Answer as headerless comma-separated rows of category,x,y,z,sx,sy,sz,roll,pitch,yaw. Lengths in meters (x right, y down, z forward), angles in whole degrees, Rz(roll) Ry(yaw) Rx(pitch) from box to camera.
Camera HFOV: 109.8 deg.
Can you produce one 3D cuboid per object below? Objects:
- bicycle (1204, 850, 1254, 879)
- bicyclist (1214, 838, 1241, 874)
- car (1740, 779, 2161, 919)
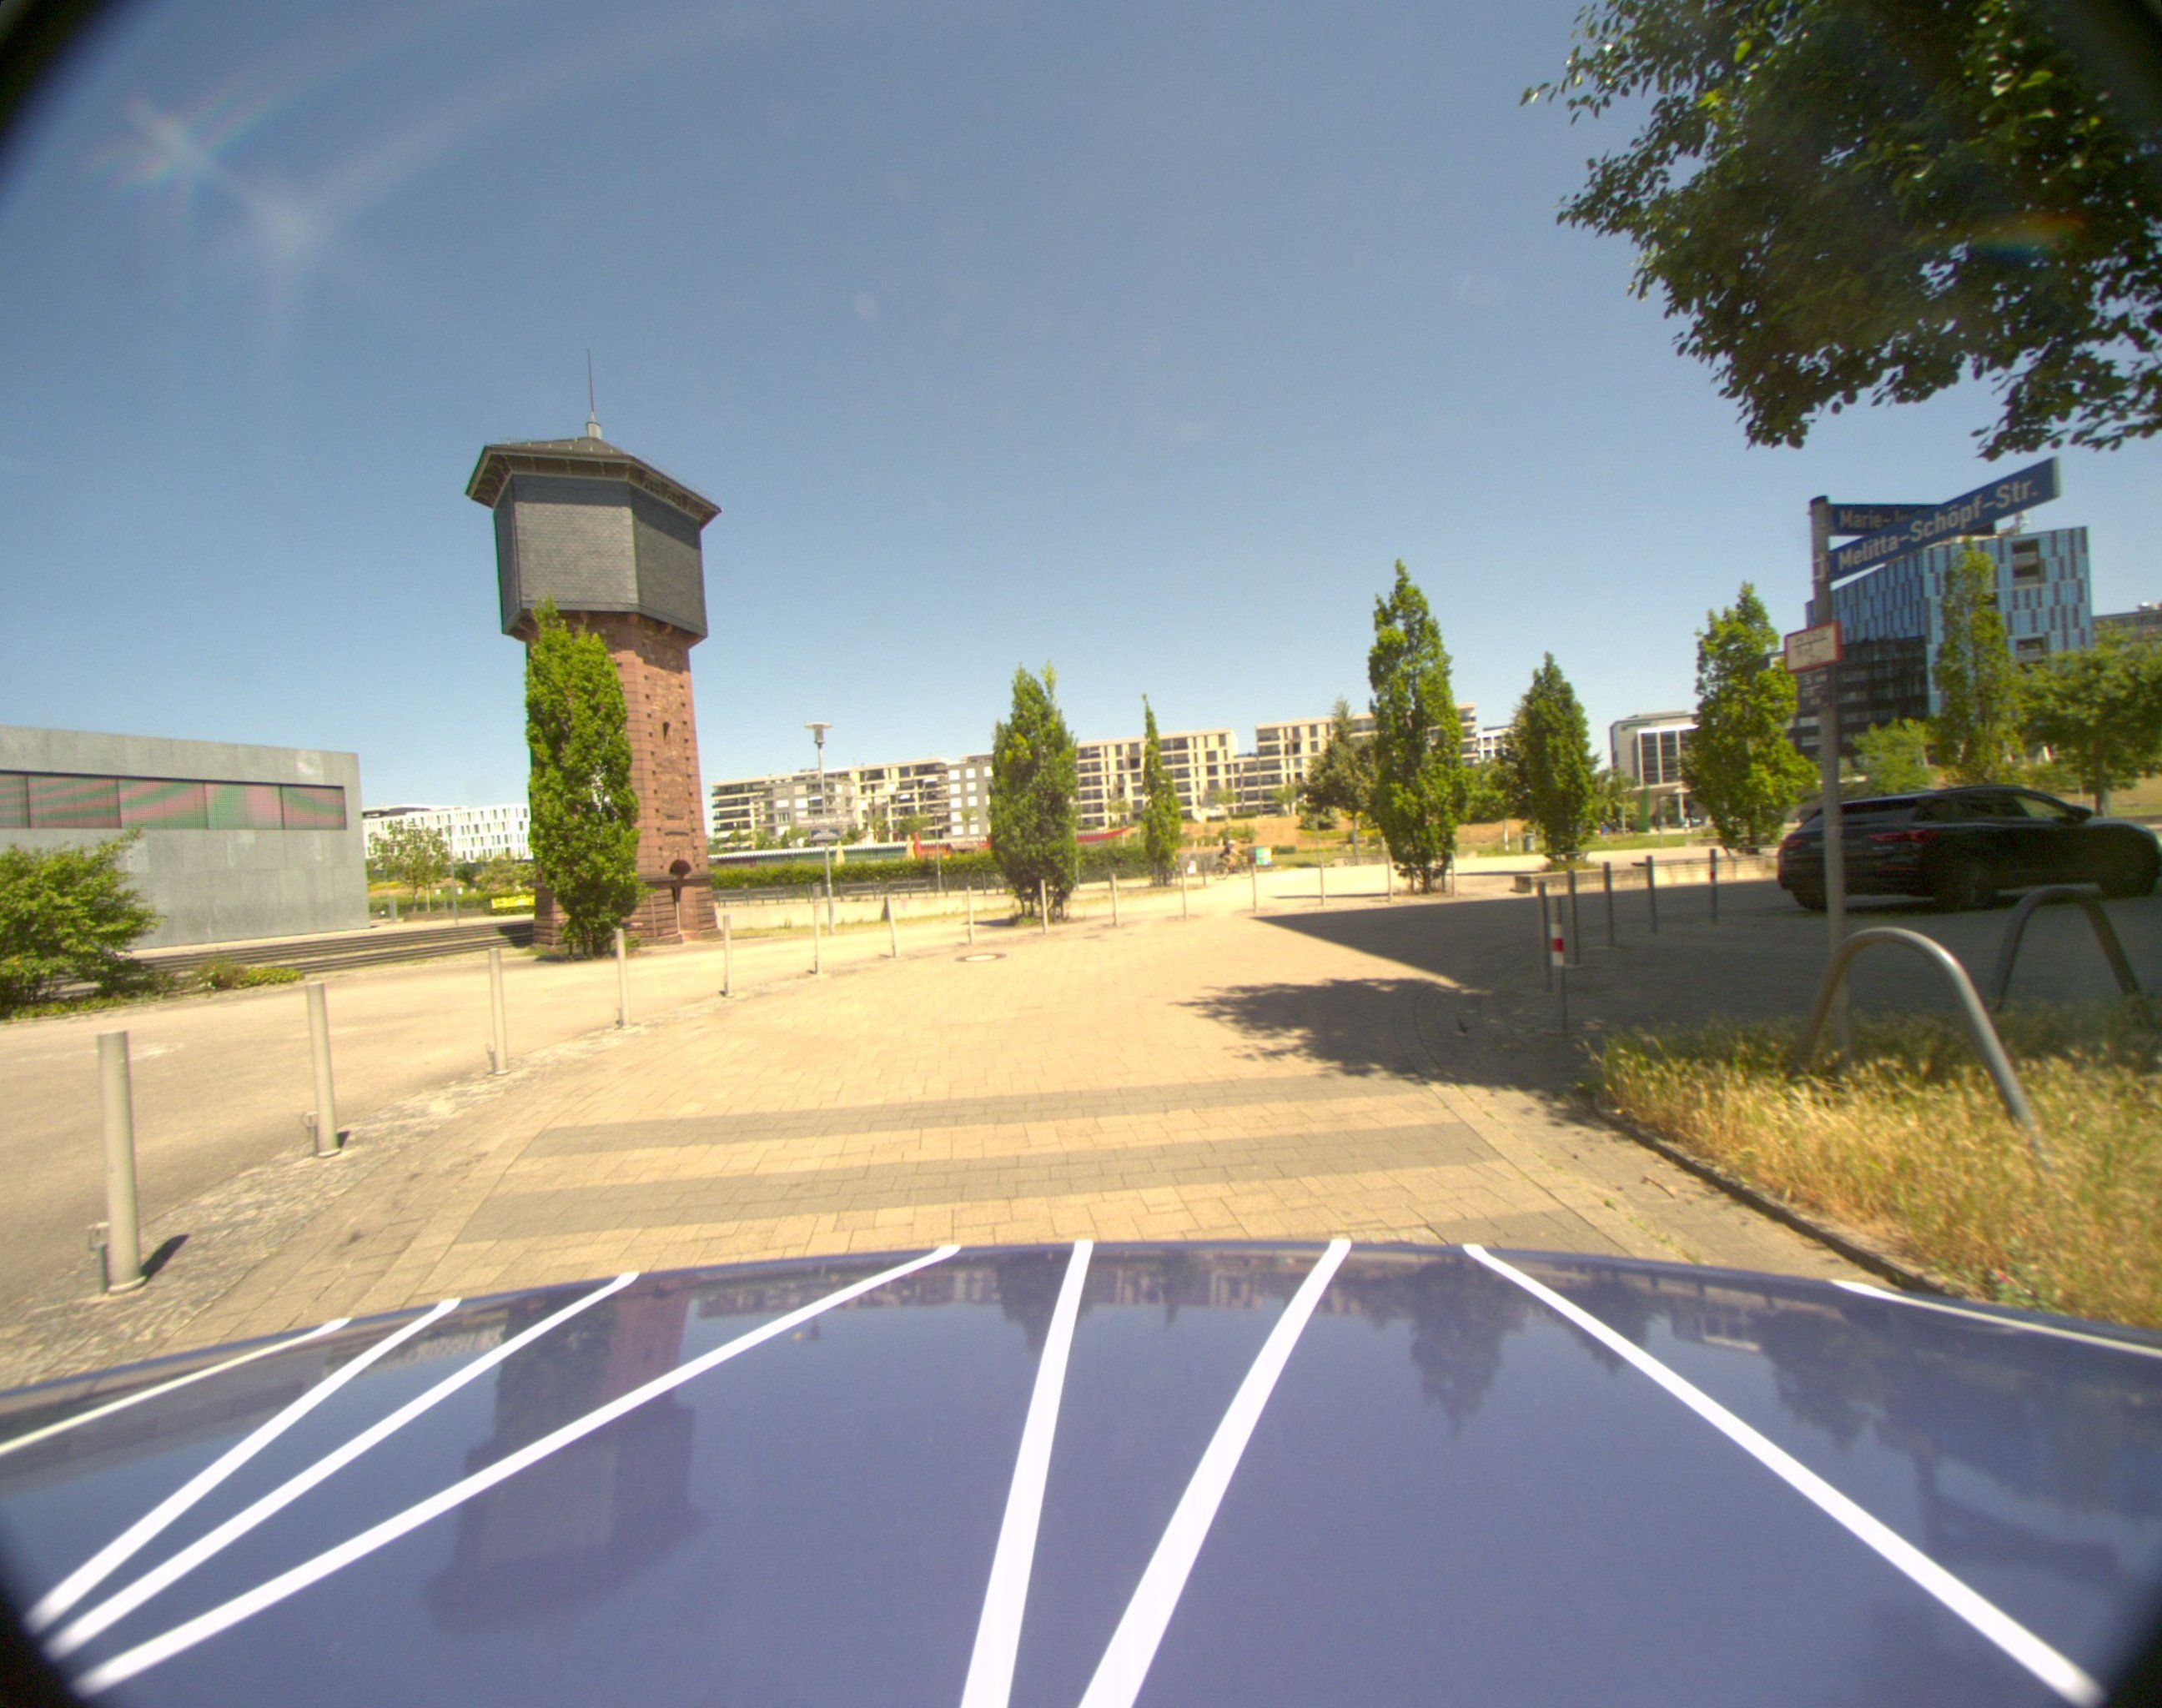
bicycle,6.289,0.444,32.375,1.911,1.111,0.800,-4,0,21
bicyclist,6.231,0.087,32.366,0.881,1.447,0.861,-4,1,21
car,11.774,-0.071,10.356,4.397,1.510,1.778,-3,-1,-10
